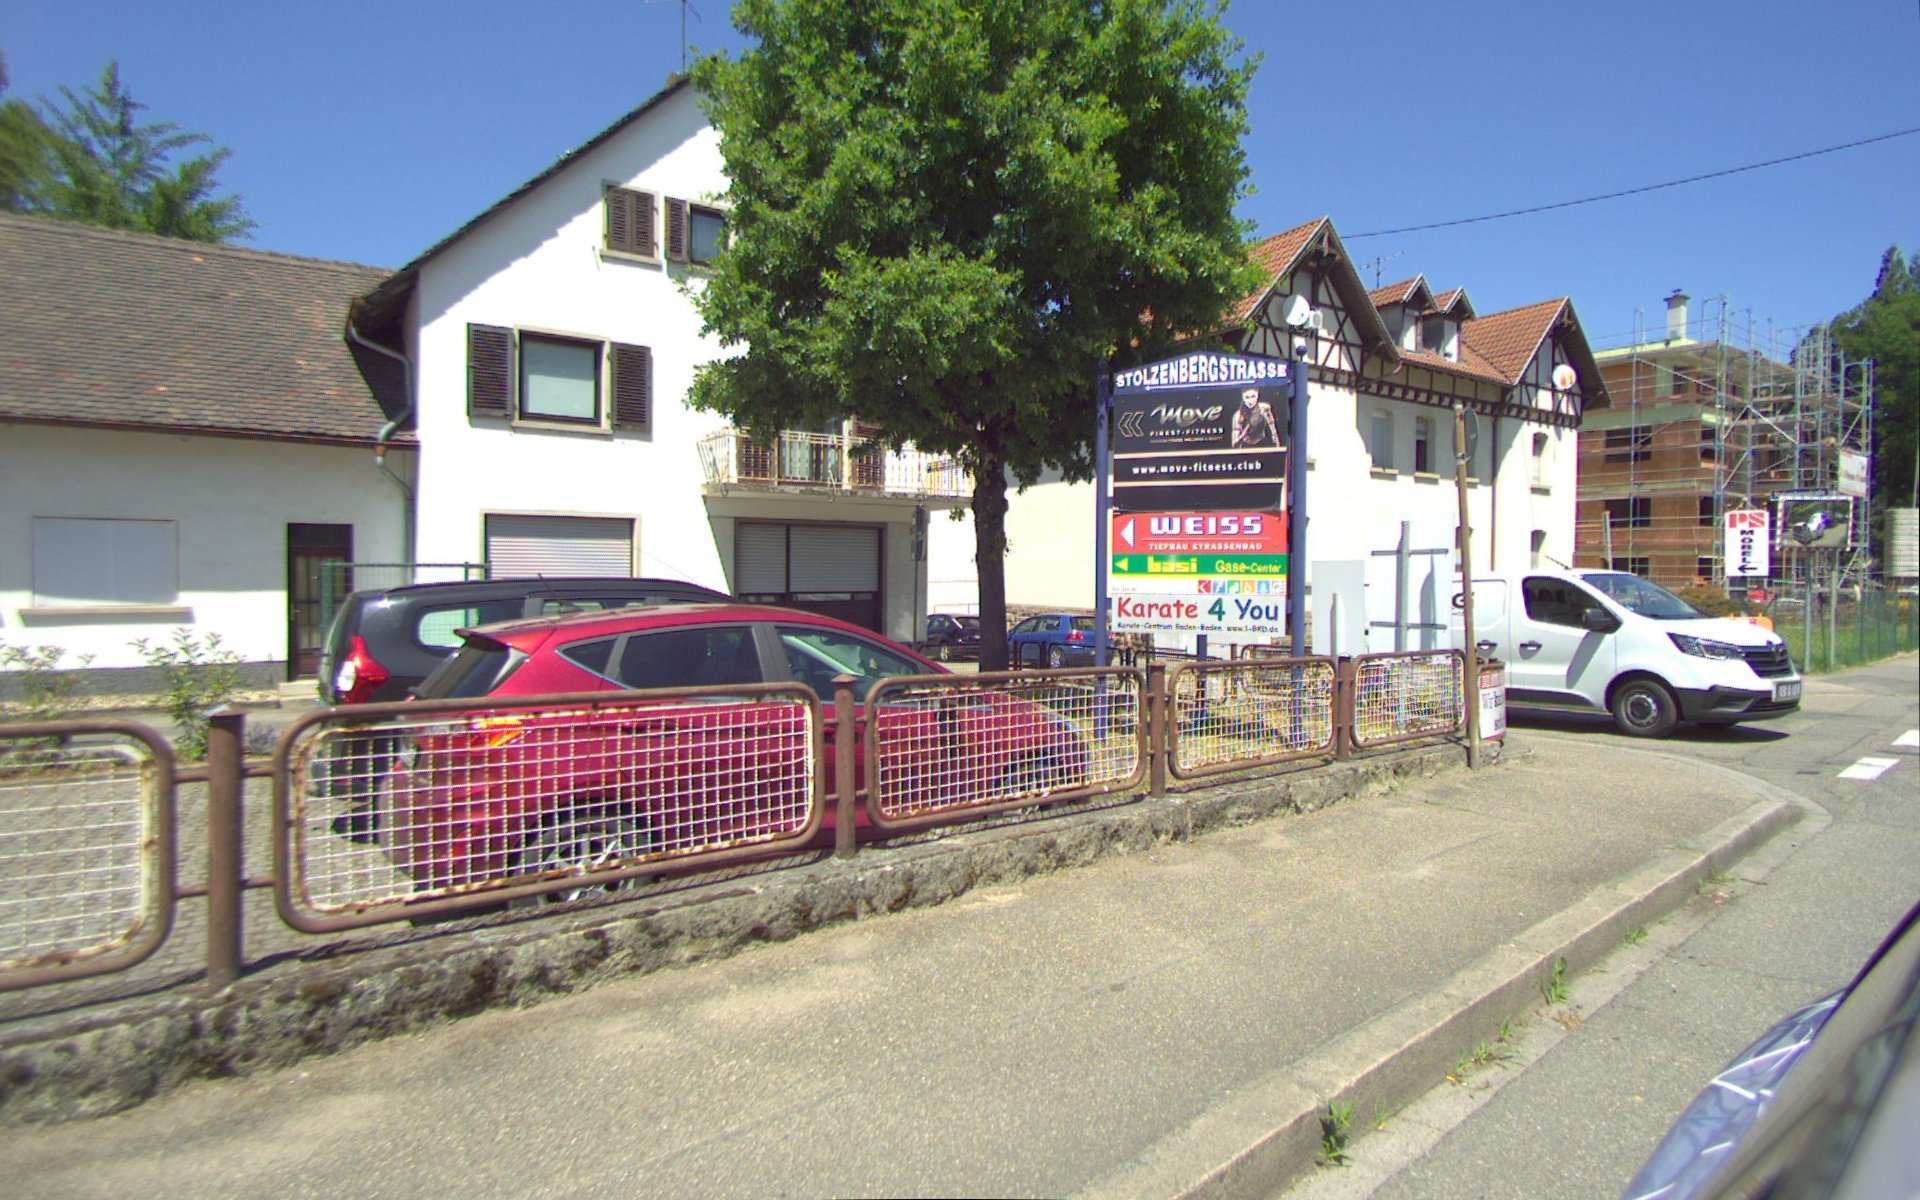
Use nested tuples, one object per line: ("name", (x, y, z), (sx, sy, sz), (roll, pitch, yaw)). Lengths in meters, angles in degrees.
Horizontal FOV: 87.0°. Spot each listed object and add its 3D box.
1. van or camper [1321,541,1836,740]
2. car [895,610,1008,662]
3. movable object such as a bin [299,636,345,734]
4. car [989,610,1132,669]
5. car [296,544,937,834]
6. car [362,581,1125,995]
("van or camper", (7.547, 0.412, 13.115), (1.960, 2.003, 5.367), (-2, 0, -30))
("car", (-0.314, 1.058, 31.107), (1.781, 1.462, 3.629), (0, -1, -33))
("movable object such as a bin", (-6.815, 0.898, 10.811), (0.408, 0.981, 0.452), (0, 1, -34))
("car", (2.611, 0.997, 27.142), (1.781, 1.462, 3.897), (0, -1, -33))
("car", (-2.485, 0.508, 7.799), (4.373, 1.686, 1.718), (0, 0, -33))
("car", (-1.066, 0.686, 5.599), (3.766, 1.542, 1.718), (0, 2, -35))
